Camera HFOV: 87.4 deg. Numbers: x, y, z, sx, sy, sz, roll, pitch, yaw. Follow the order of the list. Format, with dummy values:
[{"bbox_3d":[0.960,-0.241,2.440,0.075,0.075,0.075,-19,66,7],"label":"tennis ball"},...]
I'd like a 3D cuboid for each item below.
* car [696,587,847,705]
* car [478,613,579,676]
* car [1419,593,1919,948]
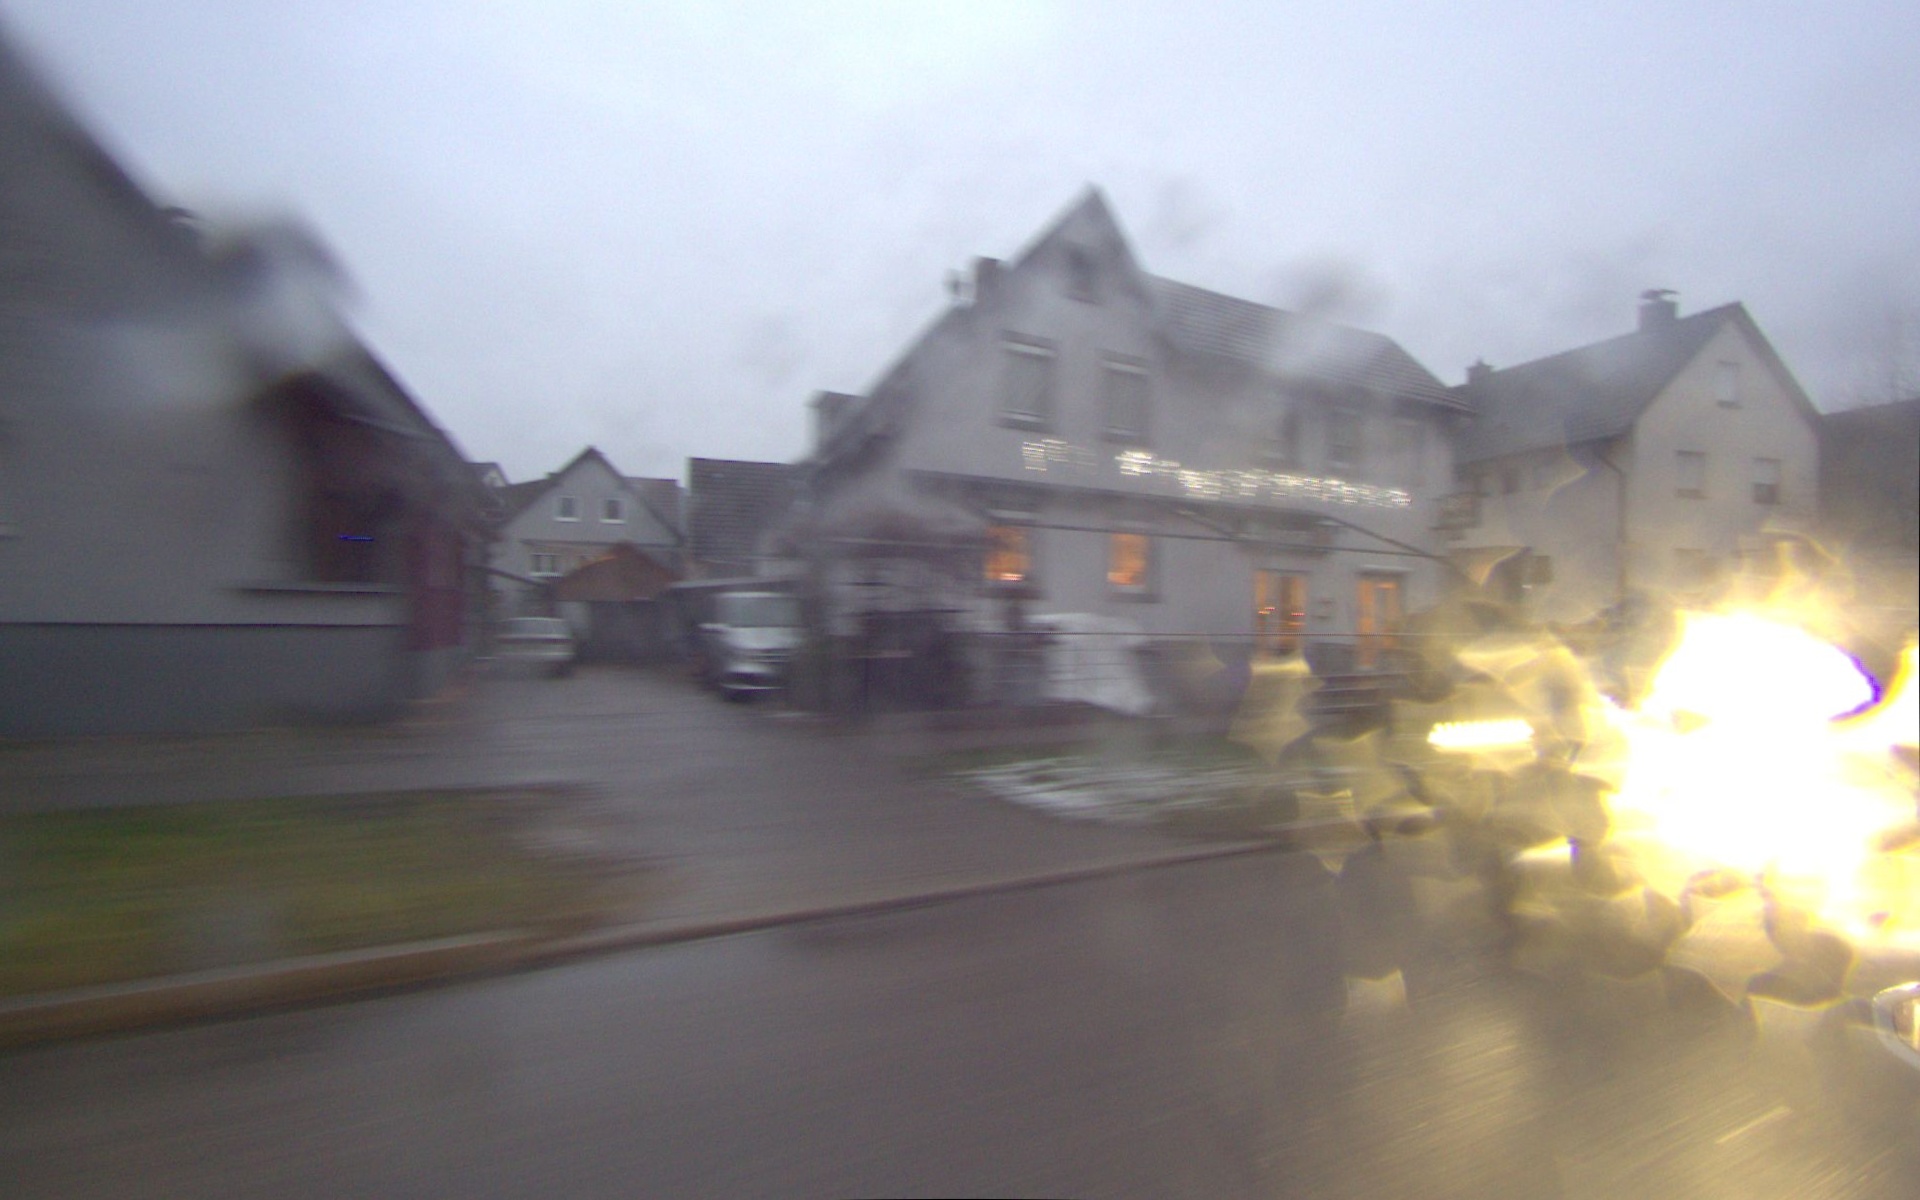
[{"bbox_3d":[-3.515,0.772,18.022,1.883,1.823,4.545,1,-1,-21],"label":"car"},{"bbox_3d":[-10.762,1.059,25.018,2.119,1.414,3.976,1,-1,-25],"label":"car"},{"bbox_3d":[5.127,0.862,6.543,4.174,1.654,1.806,1,-2,-30],"label":"car"}]
